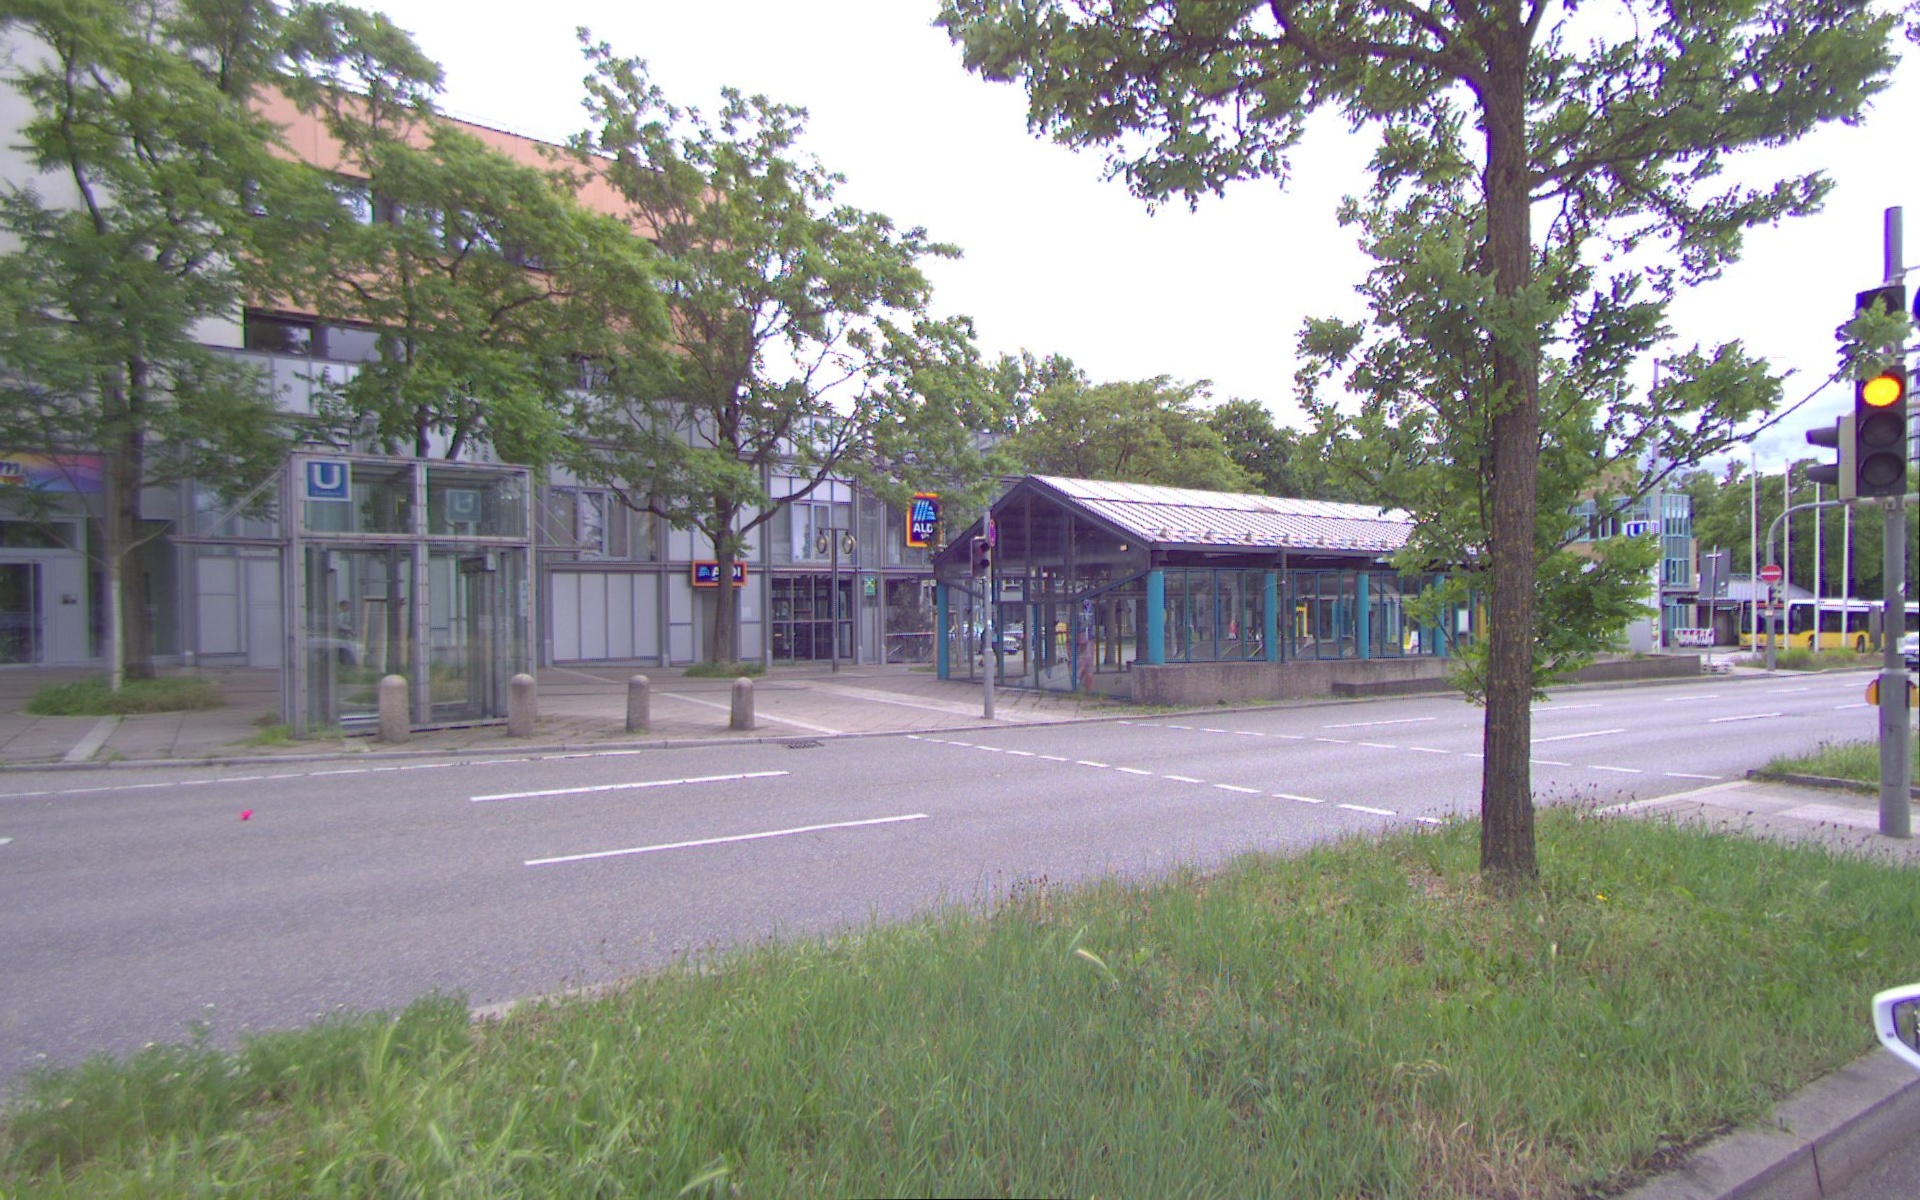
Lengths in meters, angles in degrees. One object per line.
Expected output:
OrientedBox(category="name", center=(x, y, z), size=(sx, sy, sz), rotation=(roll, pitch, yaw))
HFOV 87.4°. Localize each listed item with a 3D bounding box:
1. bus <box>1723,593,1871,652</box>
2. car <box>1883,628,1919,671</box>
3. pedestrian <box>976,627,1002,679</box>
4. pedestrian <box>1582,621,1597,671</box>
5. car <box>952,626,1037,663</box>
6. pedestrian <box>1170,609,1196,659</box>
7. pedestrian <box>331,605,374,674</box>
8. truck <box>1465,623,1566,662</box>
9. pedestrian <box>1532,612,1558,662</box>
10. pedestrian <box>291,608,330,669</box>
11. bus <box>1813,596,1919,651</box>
OrientedBox(category="bus", center=(49.934, 1.381, 59.828), size=(10.036, 3.293, 2.980), rotation=(1, -1, -26))
OrientedBox(category="car", center=(37.558, 1.912, 39.167), size=(3.316, 1.599, 1.673), rotation=(1, -1, -36))
OrientedBox(category="pedestrian", center=(0.965, 1.751, 33.412), size=(0.703, 1.677, 0.517), rotation=(1, -1, -37))
OrientedBox(category="pedestrian", center=(20.810, 1.519, 33.204), size=(0.412, 1.612, 0.356), rotation=(0, -1, 31))
OrientedBox(category="car", center=(1.661, 2.193, 50.382), size=(1.769, 1.710, 4.838), rotation=(1, -1, -33))
OrientedBox(category="pedestrian", center=(7.699, 1.155, 34.675), size=(0.649, 1.689, 0.635), rotation=(2, 0, -8))
OrientedBox(category="pedestrian", center=(-13.364, 0.858, 22.094), size=(0.748, 1.499, 0.525), rotation=(1, -1, -36))
OrientedBox(category="truck", center=(22.951, 1.741, 41.480), size=(3.954, 1.537, 1.984), rotation=(1, -1, -31))
OrientedBox(category="pedestrian", center=(22.788, 1.427, 39.120), size=(0.677, 1.922, 0.658), rotation=(1, -1, -30))
OrientedBox(category="pedestrian", center=(-15.042, 0.881, 23.259), size=(0.689, 1.393, 0.578), rotation=(1, -1, -37))
OrientedBox(category="bus", center=(57.931, 1.543, 63.768), size=(7.771, 3.313, 2.980), rotation=(1, -1, -26))
